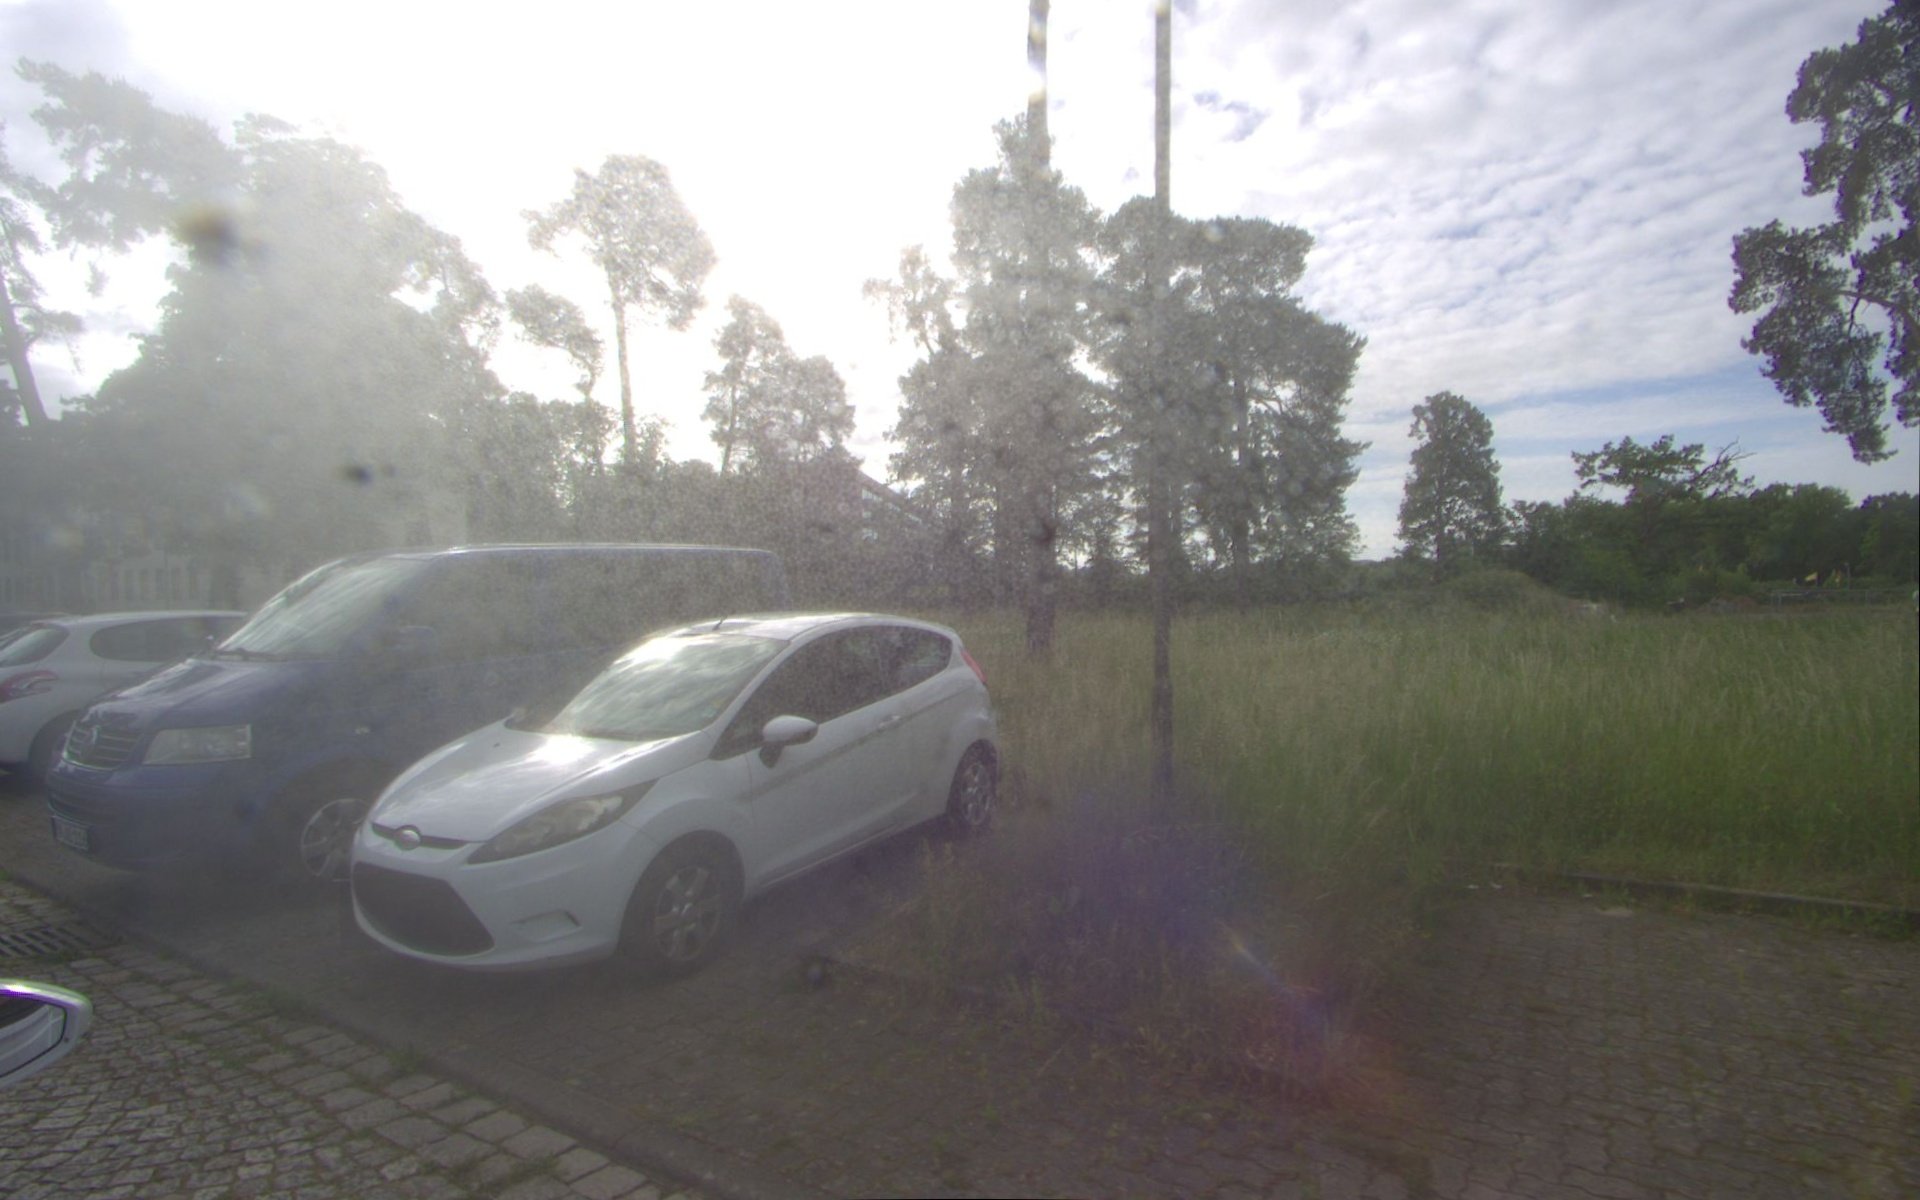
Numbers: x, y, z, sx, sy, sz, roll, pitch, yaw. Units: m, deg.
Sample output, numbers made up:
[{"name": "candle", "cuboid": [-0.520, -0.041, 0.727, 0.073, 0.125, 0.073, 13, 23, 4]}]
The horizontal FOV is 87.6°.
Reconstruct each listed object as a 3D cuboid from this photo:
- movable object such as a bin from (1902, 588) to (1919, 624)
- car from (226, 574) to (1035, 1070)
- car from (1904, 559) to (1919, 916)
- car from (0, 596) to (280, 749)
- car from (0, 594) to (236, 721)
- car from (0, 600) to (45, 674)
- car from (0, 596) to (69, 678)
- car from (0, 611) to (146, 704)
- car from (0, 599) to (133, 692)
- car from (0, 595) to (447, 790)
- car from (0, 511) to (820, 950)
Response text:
[{"name": "movable object such as a bin", "cuboid": [55.970, 0.330, 56.863, 3.180, 2.040, 1.681, 0, 1, 6]}, {"name": "car", "cuboid": [-1.300, 0.702, 5.427, 1.814, 1.493, 3.851, 0, 4, 32]}, {"name": "car", "cuboid": [4.131, 0.668, 2.447, 1.795, 1.620, 4.250, 0, 2, 32]}, {"name": "car", "cuboid": [-10.200, 0.749, 11.234, 1.731, 1.492, 3.856, 0, 2, 29]}, {"name": "car", "cuboid": [-12.237, 0.722, 13.299, 1.732, 1.492, 3.853, 0, 2, 32]}, {"name": "car", "cuboid": [-20.533, 0.793, 18.748, 1.843, 1.436, 4.671, 0, 2, 31]}, {"name": "car", "cuboid": [-18.441, 0.721, 17.103, 1.840, 1.436, 4.420, 0, 2, 24]}, {"name": "car", "cuboid": [-14.468, 0.860, 14.444, 1.732, 1.253, 3.853, 0, 2, 32]}, {"name": "car", "cuboid": [-16.374, 0.769, 16.182, 1.844, 1.436, 4.250, 0, 2, 33]}, {"name": "car", "cuboid": [-7.568, 0.746, 10.159, 1.732, 1.492, 3.853, 0, 2, 32]}, {"name": "car", "cuboid": [-3.301, 0.519, 7.040, 1.974, 1.972, 4.796, 0, 2, 32]}]
